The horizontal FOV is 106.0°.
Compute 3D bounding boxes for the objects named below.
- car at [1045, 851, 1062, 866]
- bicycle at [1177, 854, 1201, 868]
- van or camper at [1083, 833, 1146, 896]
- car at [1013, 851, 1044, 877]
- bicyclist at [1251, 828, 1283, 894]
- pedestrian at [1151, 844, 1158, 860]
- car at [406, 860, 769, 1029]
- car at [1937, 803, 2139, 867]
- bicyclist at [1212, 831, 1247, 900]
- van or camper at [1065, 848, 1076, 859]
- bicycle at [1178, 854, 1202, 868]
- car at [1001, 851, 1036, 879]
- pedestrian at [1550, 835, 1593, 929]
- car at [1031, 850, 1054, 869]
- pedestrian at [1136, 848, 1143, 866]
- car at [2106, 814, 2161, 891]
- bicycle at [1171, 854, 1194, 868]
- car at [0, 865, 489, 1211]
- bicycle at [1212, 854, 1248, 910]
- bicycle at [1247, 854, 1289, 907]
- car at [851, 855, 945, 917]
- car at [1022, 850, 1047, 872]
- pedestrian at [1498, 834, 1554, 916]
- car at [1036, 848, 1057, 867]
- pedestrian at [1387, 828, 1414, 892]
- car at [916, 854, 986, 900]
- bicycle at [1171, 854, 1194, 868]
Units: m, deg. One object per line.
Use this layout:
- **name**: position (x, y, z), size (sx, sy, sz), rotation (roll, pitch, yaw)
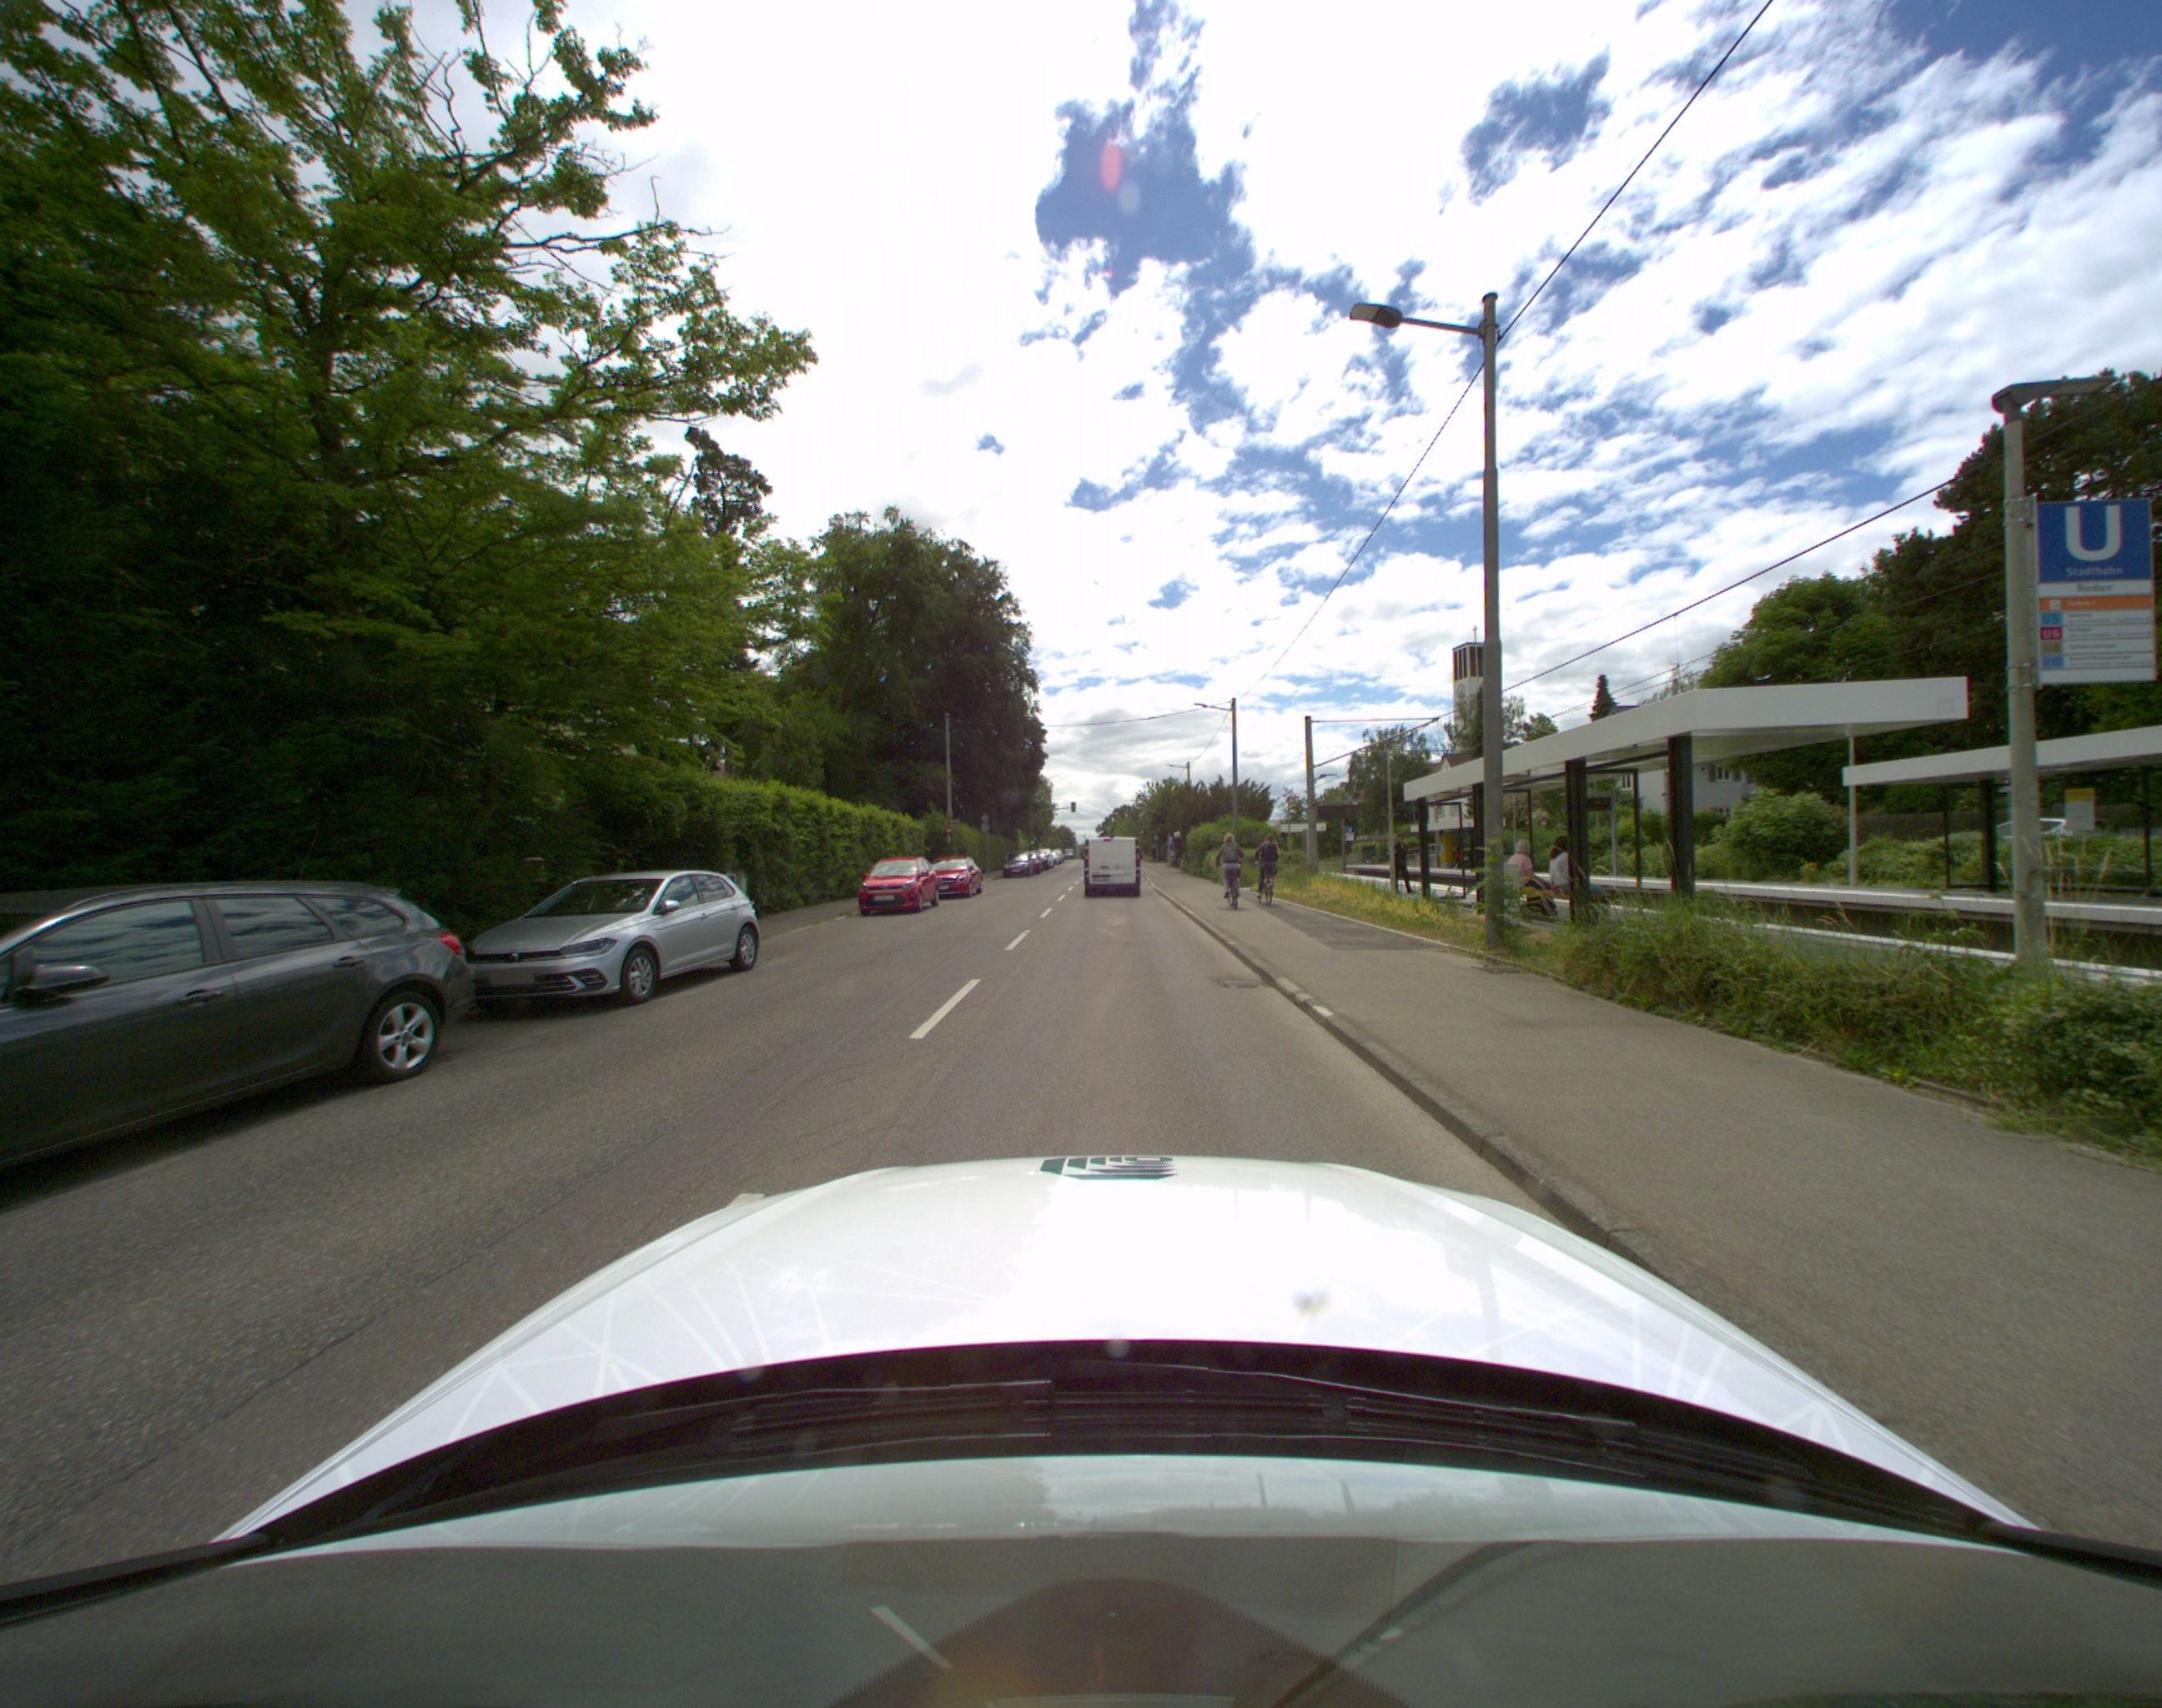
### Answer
- **car**: position (-3.118, 0.498, 93.332), size (1.756, 1.557, 3.815), rotation (-2, 0, 1)
- **bicycle**: position (8.111, 0.542, 61.194), size (1.693, 1.030, 0.491), rotation (-1, 0, 0)
- **van or camper**: position (1.170, 0.341, 28.285), size (1.986, 2.014, 4.448), rotation (0, 0, 2)
- **car**: position (-3.616, 0.664, 56.801), size (1.756, 1.656, 4.061), rotation (-2, 0, 1)
- **bicyclist**: position (4.779, 0.181, 20.936), size (0.637, 1.649, 0.819), rotation (-1, 0, 2)
- **pedestrian**: position (7.756, -0.186, 86.282), size (0.670, 1.696, 0.523), rotation (-1, 0, 6)
- **car**: position (-5.526, 0.891, 9.827), size (1.729, 1.505, 3.966), rotation (-3, 0, 3)
- **car**: position (28.107, -0.523, 24.134), size (1.722, 1.751, 3.944), rotation (0, 0, 9)
- **bicyclist**: position (3.564, 0.271, 19.551), size (0.715, 1.612, 0.758), rotation (-1, 0, 1)
- **van or camper**: position (-2.273, -0.095, 175.122), size (1.999, 2.261, 4.608), rotation (-2, 0, -3)
- **bicycle**: position (8.101, 0.540, 60.637), size (1.693, 1.030, 0.491), rotation (-1, 0, 0)
- **car**: position (-3.884, 0.626, 50.892), size (1.756, 1.625, 4.186), rotation (-2, 0, 1)
- **pedestrian**: position (7.146, 0.403, 11.882), size (0.481, 1.344, 0.398), rotation (-1, 0, 23)
- **car**: position (-3.385, 0.464, 72.785), size (1.756, 1.656, 3.815), rotation (-2, 0, 1)
- **pedestrian**: position (6.082, 0.291, 84.211), size (0.676, 1.841, 0.647), rotation (-1, 0, 8)
- **car**: position (27.379, -0.038, 19.227), size (1.723, 1.914, 3.943), rotation (1, -1, 8)
- **bicycle**: position (7.913, 0.558, 63.603), size (1.693, 1.030, 0.491), rotation (-1, 0, 0)
- **car**: position (-5.724, 0.888, 4.339), size (1.730, 1.505, 4.479), rotation (-3, 0, 1)
- **bicycle**: position (3.585, 0.643, 19.692), size (0.544, 1.246, 2.056), rotation (-1, 0, 2)
- **bicycle**: position (4.806, 0.648, 21.083), size (0.616, 1.246, 2.397), rotation (-1, 0, 2)
- **car**: position (-4.984, 0.816, 22.613), size (1.582, 1.505, 3.518), rotation (-2, 0, 3)
- **car**: position (-3.792, 0.569, 67.303), size (1.756, 1.656, 3.815), rotation (-2, 0, 1)
- **pedestrian**: position (7.633, 0.350, 13.992), size (0.580, 1.380, 0.740), rotation (-1, 0, 3)
- **car**: position (-3.393, 0.340, 79.761), size (1.756, 1.756, 3.815), rotation (-2, 0, 1)
- **pedestrian**: position (8.713, 0.165, 22.223), size (0.632, 1.725, 0.658), rotation (0, 0, 18)
- **car**: position (-4.607, 0.771, 29.492), size (1.756, 1.471, 4.186), rotation (-2, 0, 1)
- **bicycle**: position (7.863, 0.562, 63.047), size (1.693, 1.030, 0.491), rotation (-1, 0, 0)
